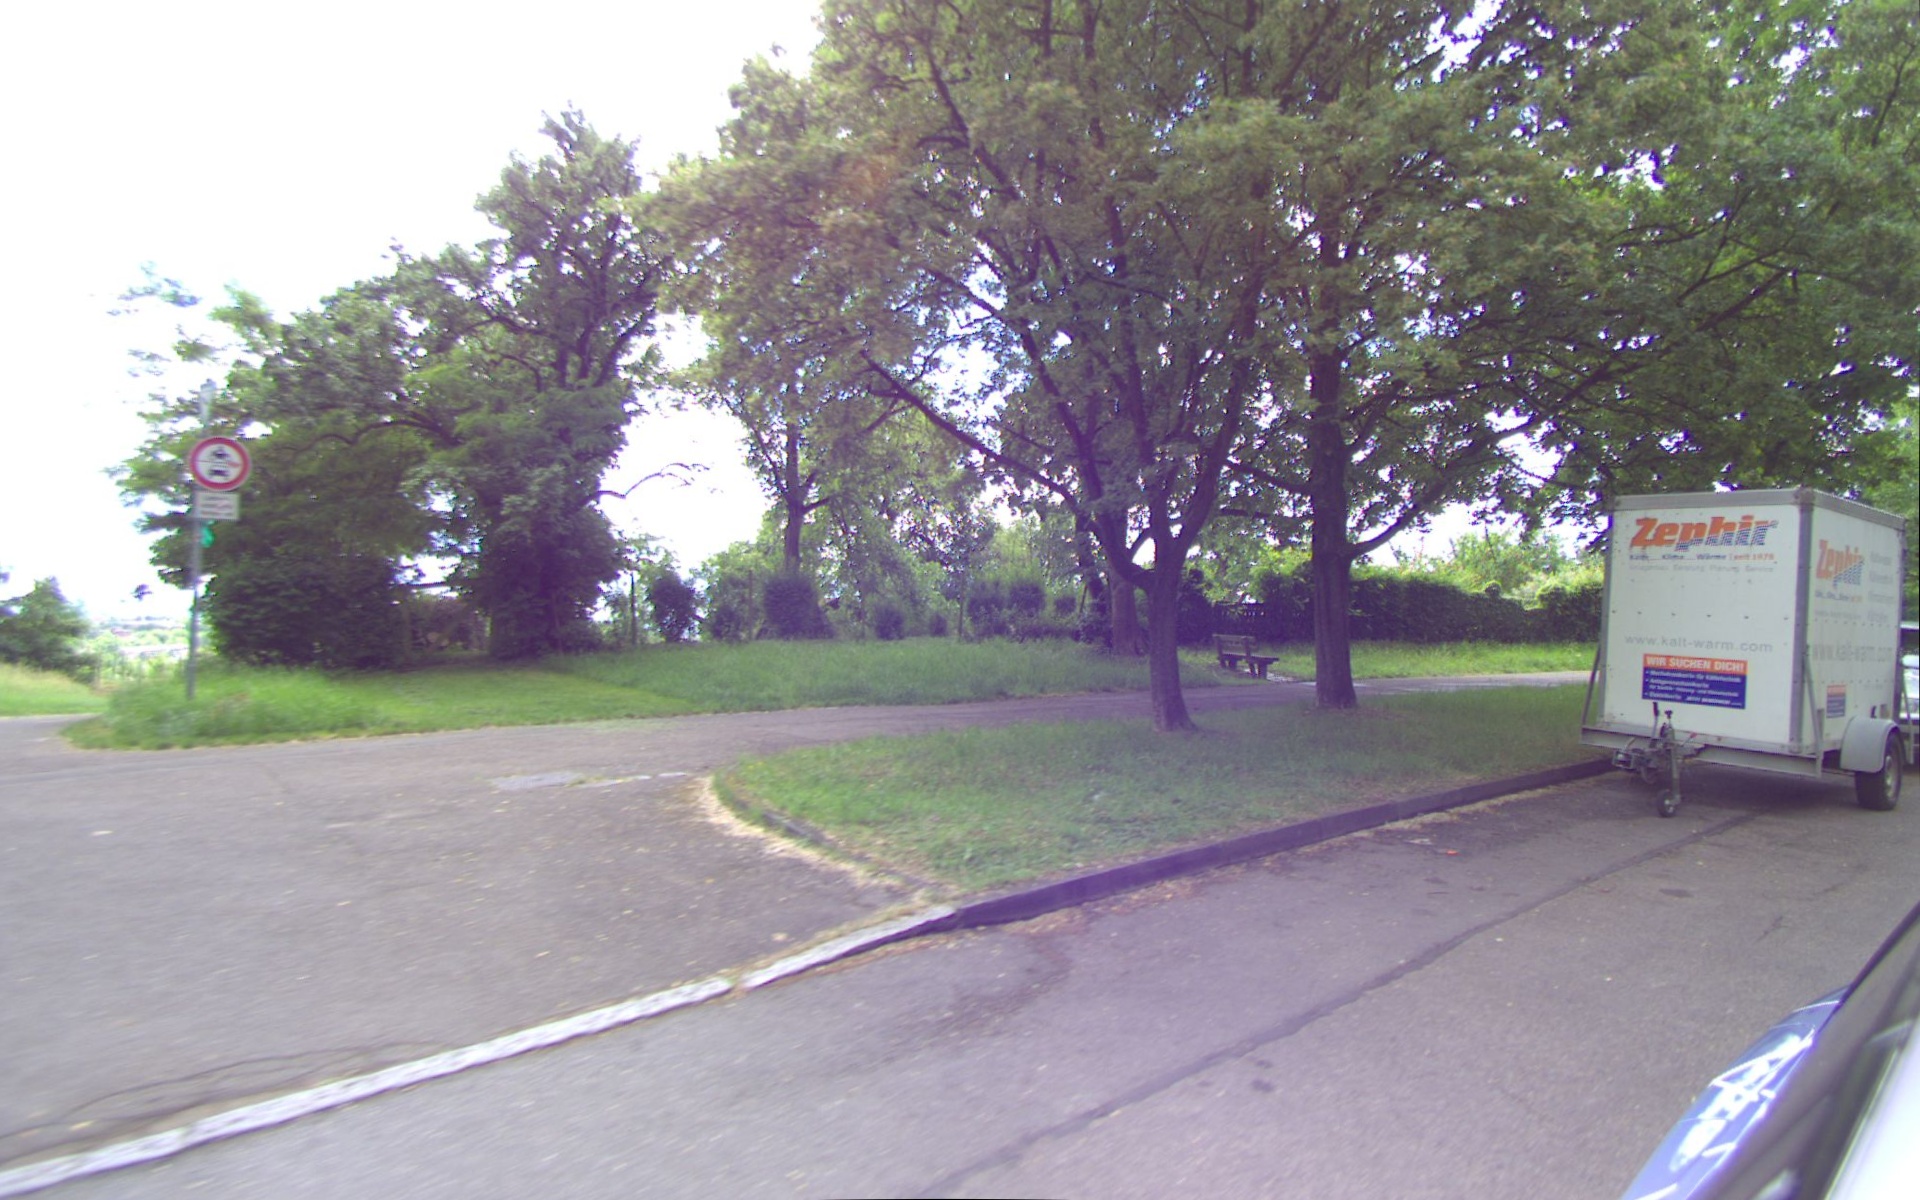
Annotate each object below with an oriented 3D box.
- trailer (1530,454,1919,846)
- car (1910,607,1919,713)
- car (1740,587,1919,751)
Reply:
[{"bbox_3d":[6.443,0.300,8.195,3.814,2.457,1.766,0,1,-37],"label":"trailer"},{"bbox_3d":[15.720,0.818,14.750,3.982,1.494,1.909,-2,2,-34],"label":"car"},{"bbox_3d":[10.670,0.644,11.421,4.548,1.544,1.747,0,1,-36],"label":"car"}]
